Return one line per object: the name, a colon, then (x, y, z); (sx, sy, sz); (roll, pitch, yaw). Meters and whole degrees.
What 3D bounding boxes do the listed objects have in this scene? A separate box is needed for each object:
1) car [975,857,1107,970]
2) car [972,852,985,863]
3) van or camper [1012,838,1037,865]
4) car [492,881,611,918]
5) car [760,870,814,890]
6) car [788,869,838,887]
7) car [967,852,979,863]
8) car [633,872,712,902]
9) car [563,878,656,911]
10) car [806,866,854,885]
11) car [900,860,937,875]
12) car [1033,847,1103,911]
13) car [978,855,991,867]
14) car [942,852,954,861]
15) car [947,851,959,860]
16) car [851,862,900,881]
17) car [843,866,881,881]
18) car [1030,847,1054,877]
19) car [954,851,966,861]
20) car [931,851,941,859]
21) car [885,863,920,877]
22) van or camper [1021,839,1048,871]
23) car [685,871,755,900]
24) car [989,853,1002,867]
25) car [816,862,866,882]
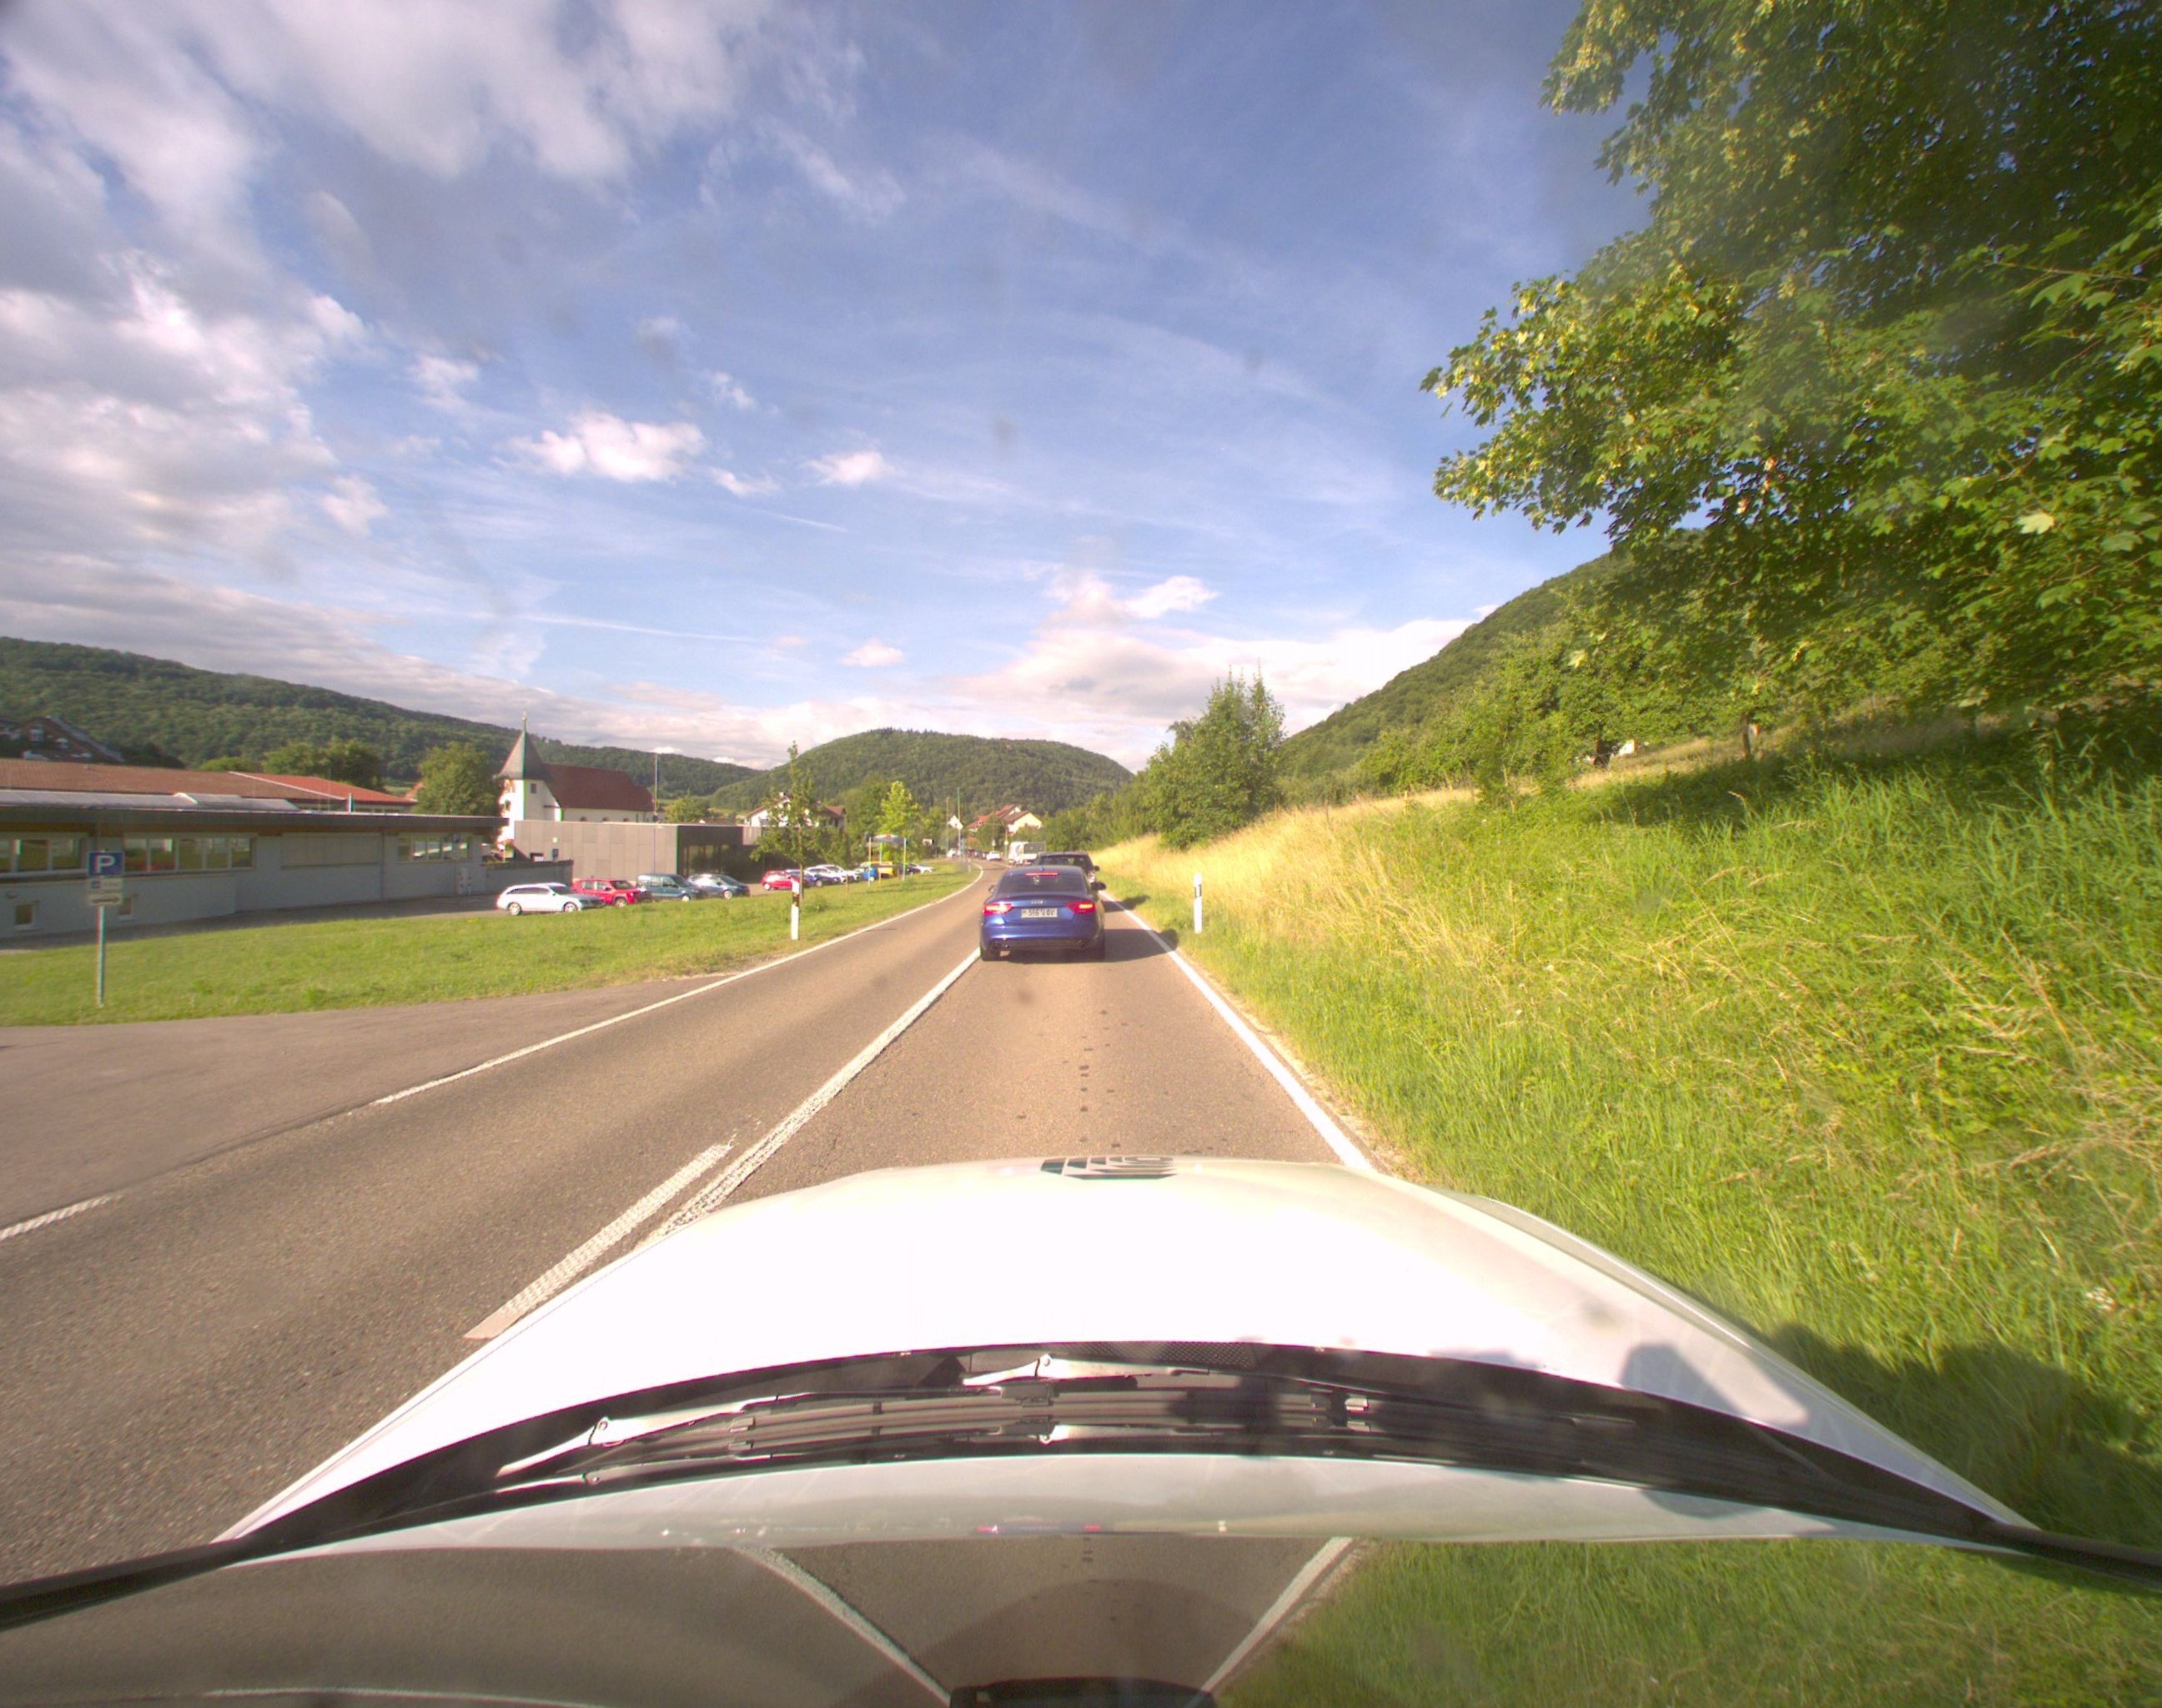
car: (-0.589, 0.805, 12.801); (1.738, 1.450, 3.514); (-2, 0, -2)
car: (-18.265, 0.670, 144.845); (1.663, 1.924, 3.978); (-2, 0, -16)
van or camper: (-6.061, -0.240, 86.940); (2.279, 2.713, 5.753); (-2, 0, -7)
car: (-26.151, 2.240, 40.333); (4.618, 1.589, 2.003); (-2, 0, 5)
car: (-22.934, 2.004, 63.581); (3.606, 1.444, 1.651); (-2, 0, 6)
car: (-22.559, 2.019, 68.636); (3.606, 1.405, 1.599); (-2, 0, 6)
car: (-20.540, 0.625, 154.680); (1.681, 1.924, 3.976); (-2, 0, -17)
car: (-24.475, 1.966, 48.902); (3.845, 1.722, 1.757); (-1, 0, 3)
car: (-25.012, 2.145, 43.239); (3.900, 1.579, 1.758); (-2, 0, 5)
car: (-22.133, 1.874, 71.857); (3.647, 1.493, 1.600); (-2, 1, 6)
car: (-19.625, 1.677, 98.237); (4.015, 1.660, 1.659); (-2, 0, 6)
car: (-0.421, 0.636, 22.444); (1.643, 1.625, 3.510); (0, 0, -6)
car: (-15.754, 1.107, 132.925); (1.661, 1.924, 3.982); (-2, 0, -13)
car: (-30.002, 0.637, 183.205); (1.960, 1.924, 3.975); (-2, 0, -18)
car: (-27.551, 0.289, 175.511); (1.683, 1.924, 3.972); (-2, 0, -20)
car: (-21.117, 1.800, 83.682); (4.529, 1.815, 1.844); (-2, -3, 6)
car: (-21.805, 1.966, 81.130); (3.359, 1.373, 1.659); (-2, 0, -2)
car: (-2.798, 0.534, 58.484); (1.564, 2.013, 3.996); (-2, 0, -3)
car: (-24.691, 0.470, 166.399); (1.682, 1.924, 3.974); (-2, 0, -19)
car: (-34.674, 0.226, 194.840); (1.682, 1.924, 3.975); (-2, 0, -18)
car: (-20.571, 1.820, 93.885); (3.693, 1.439, 1.512); (-2, 0, 6)
van or camper: (-3.928, 0.109, 68.138); (2.049, 2.505, 5.801); (-2, 0, -5)
car: (-23.668, 2.054, 53.452); (3.799, 1.722, 1.735); (-2, 0, 5)
car: (-12.702, 0.897, 120.885); (1.660, 1.924, 3.985); (-2, 0, -11)
car: (-22.133, 1.670, 75.070); (4.056, 1.673, 1.599); (-2, 0, 6)
